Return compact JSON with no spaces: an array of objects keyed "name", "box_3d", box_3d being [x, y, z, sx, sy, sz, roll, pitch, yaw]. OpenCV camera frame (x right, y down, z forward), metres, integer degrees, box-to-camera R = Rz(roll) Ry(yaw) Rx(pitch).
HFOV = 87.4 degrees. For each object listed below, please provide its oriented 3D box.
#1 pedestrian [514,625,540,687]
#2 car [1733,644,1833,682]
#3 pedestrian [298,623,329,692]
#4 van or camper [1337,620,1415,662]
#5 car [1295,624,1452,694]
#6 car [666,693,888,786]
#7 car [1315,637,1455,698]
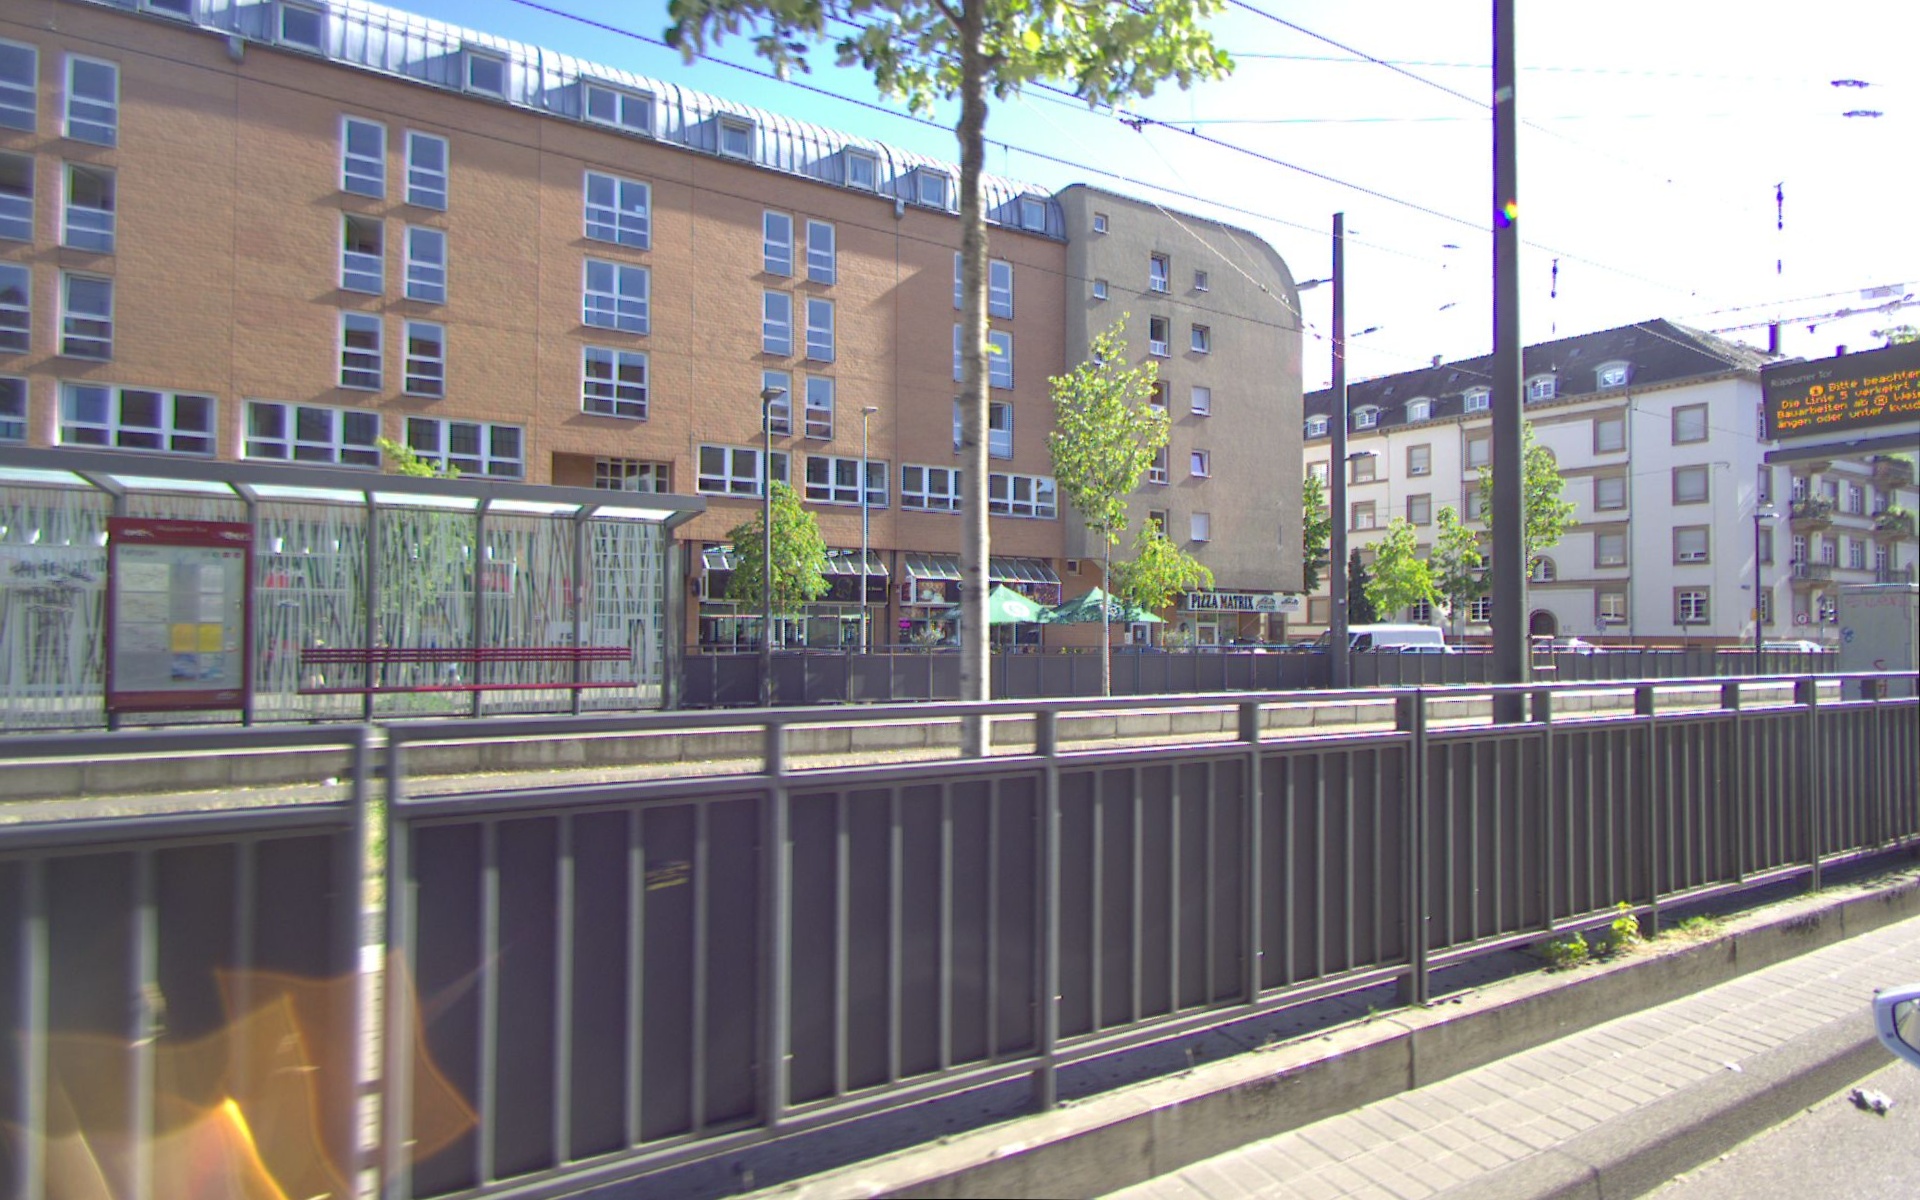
[{"name":"pedestrian","box_3d":[-13.217,1.712,30.681,0.637,1.864,0.618,1,-2,-30]},{"name":"car","box_3d":[30.729,2.344,37.487,3.915,1.303,1.686,2,-1,-31]},{"name":"pedestrian","box_3d":[-17.621,1.555,27.388,0.637,1.864,0.617,1,-2,-31]},{"name":"van or camper","box_3d":[25.366,2.474,61.091,5.910,2.432,1.976,2,-3,-41]},{"name":"car","box_3d":[15.128,2.108,36.695,5.563,2.401,1.990,1,-1,-23]},{"name":"car","box_3d":[-3.633,2.705,20.051,3.955,1.483,1.869,2,-1,-31]},{"name":"car","box_3d":[13.099,2.054,30.899,3.953,1.706,1.984,2,-1,-30]}]
